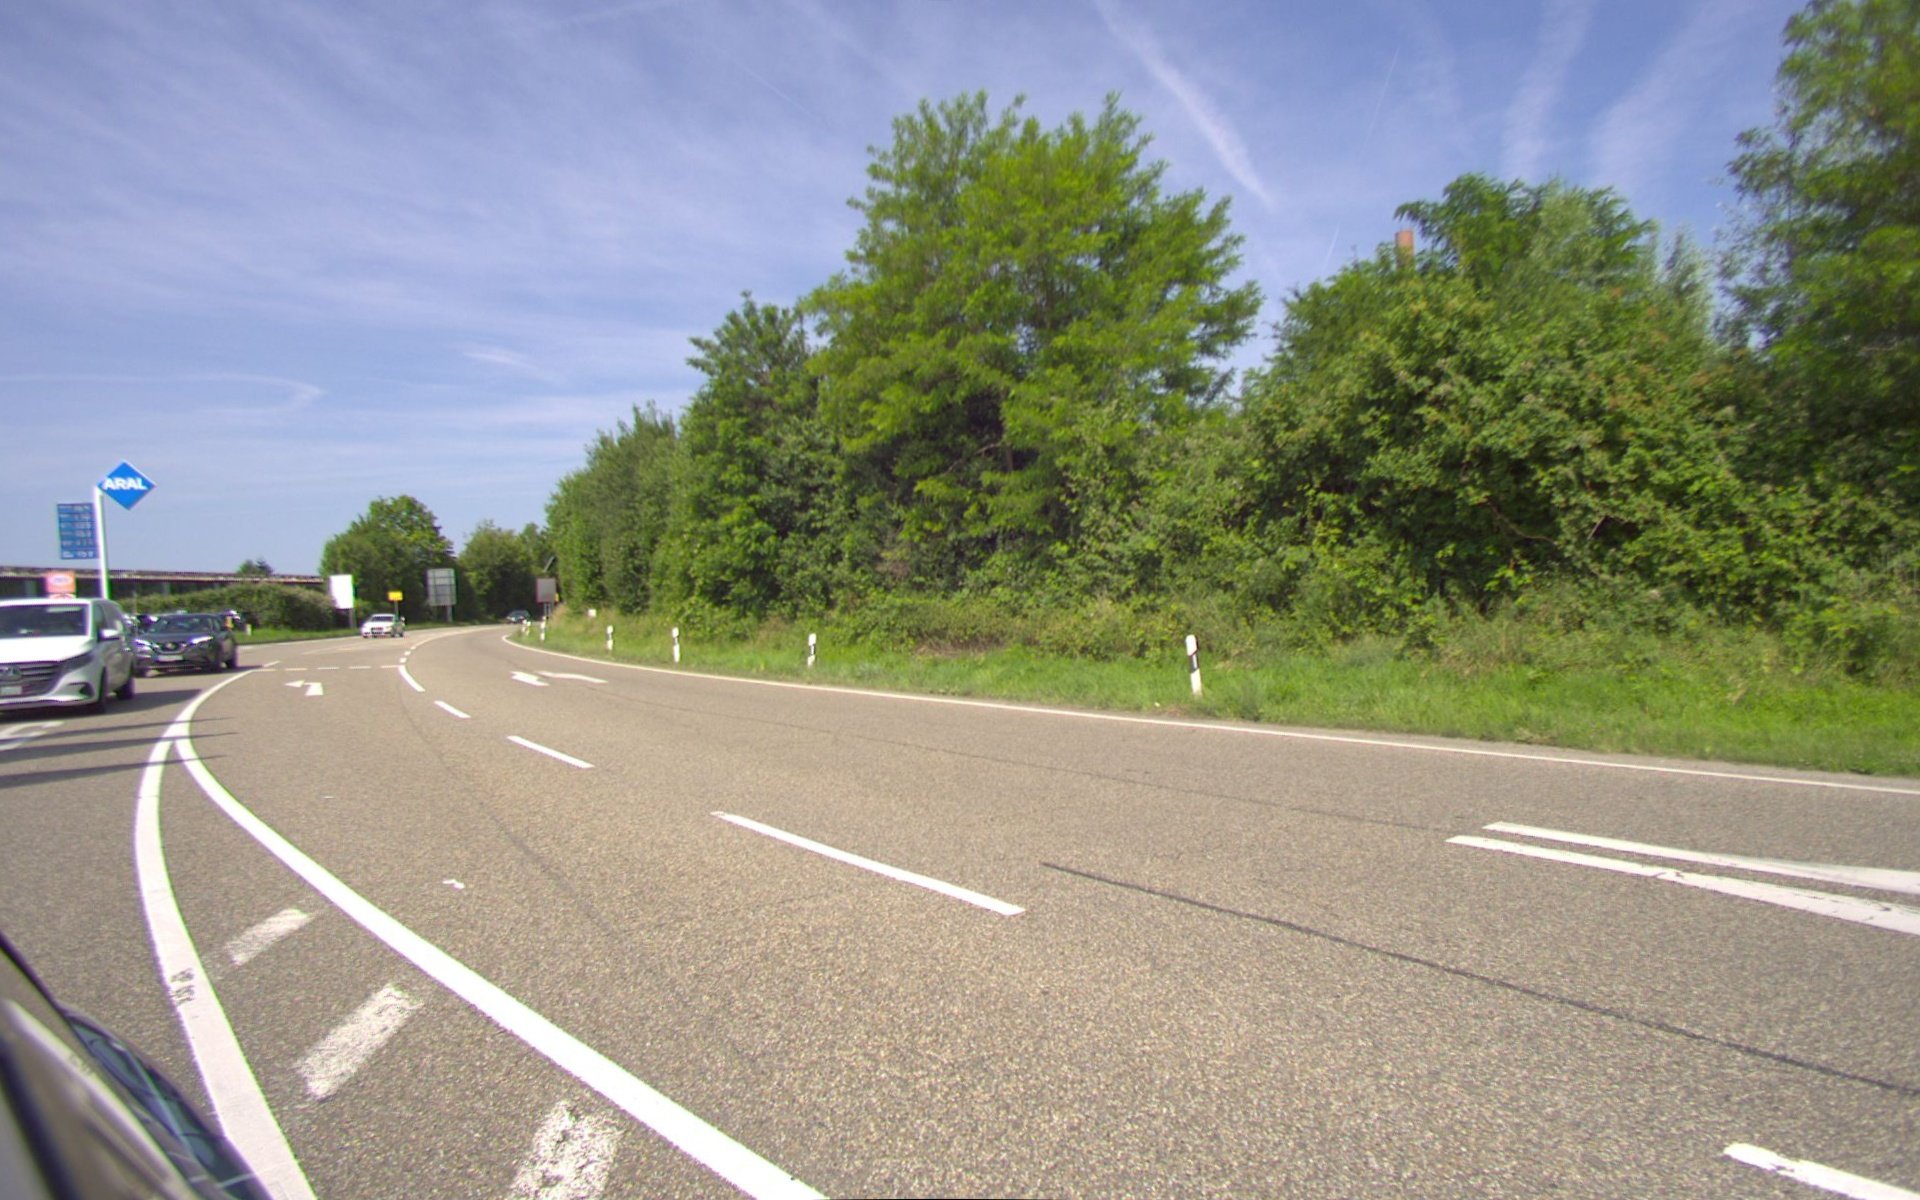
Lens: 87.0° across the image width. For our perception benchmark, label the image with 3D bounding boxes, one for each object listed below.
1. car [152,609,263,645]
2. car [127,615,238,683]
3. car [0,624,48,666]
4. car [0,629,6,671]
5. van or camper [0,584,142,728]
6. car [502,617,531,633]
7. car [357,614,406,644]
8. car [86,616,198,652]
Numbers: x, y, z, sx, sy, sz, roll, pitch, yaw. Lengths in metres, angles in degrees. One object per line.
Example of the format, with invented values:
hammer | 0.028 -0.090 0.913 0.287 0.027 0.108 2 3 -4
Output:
car | -38.765 1.389 52.214 4.186 1.650 1.827 -3 -1 -15
car | -20.167 1.212 26.394 1.791 1.552 3.738 -3 1 -30
car | -40.029 1.896 40.977 4.186 1.650 1.827 -3 -1 -15
car | -39.545 2.051 38.607 4.186 1.650 1.827 -3 -1 -15
van or camper | -15.152 0.856 16.721 1.967 2.029 5.304 -3 1 -33
car | -49.745 2.778 113.616 1.839 1.653 4.431 -3 1 -10
car | -35.407 1.742 62.010 1.837 1.653 4.436 -3 1 -20
car | -42.987 1.759 53.271 4.186 1.650 1.827 -3 -1 -15
